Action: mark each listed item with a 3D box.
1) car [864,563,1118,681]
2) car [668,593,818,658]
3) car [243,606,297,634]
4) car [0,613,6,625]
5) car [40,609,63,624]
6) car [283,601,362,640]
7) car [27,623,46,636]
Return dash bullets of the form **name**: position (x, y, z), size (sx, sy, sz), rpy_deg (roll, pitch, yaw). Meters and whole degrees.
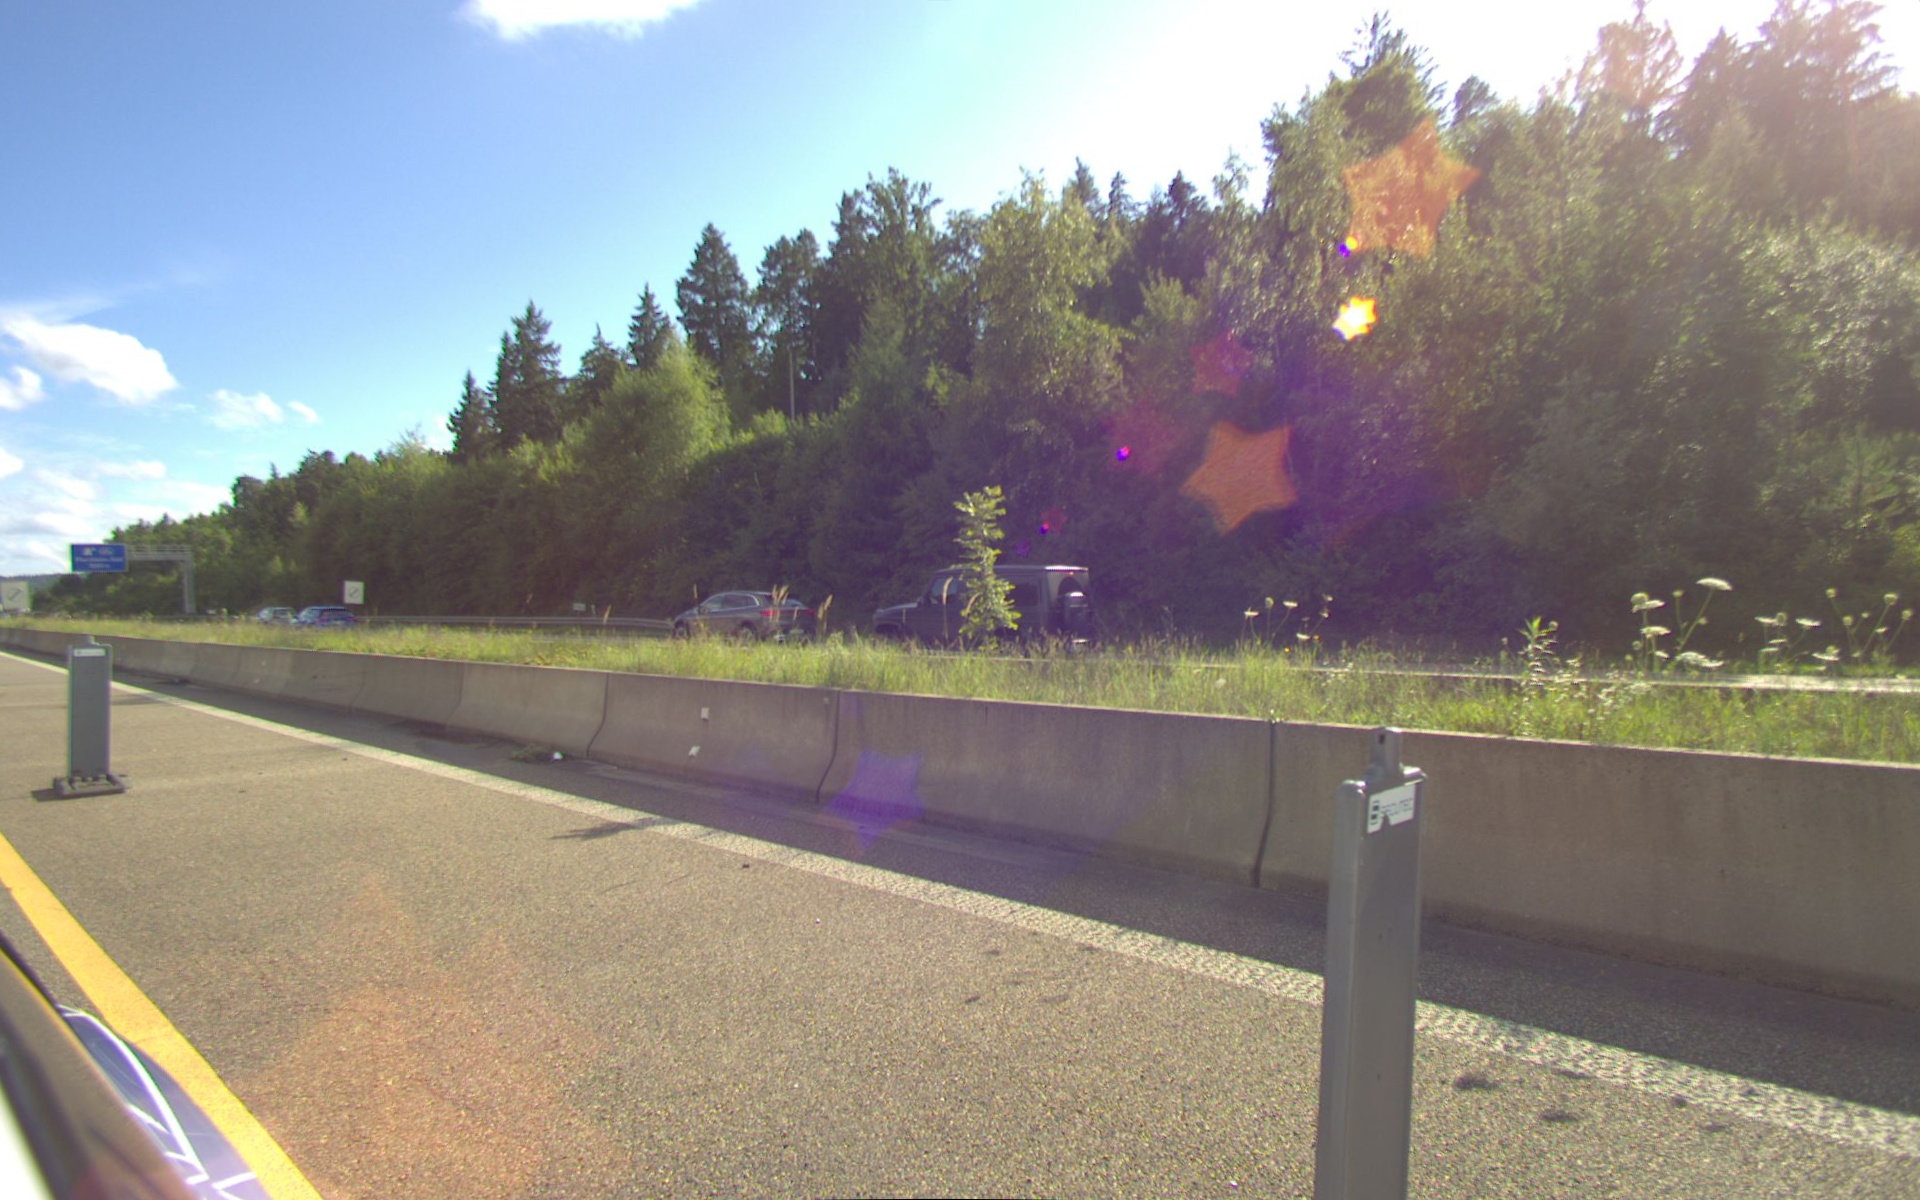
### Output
- **car**: position (0.461, 0.365, 18.617), size (4.615, 1.917, 1.759), rpy_deg (-1, 0, 41)
- **car**: position (-6.253, 0.676, 28.829), size (4.615, 1.701, 1.759), rpy_deg (-1, 0, 41)
- **car**: position (-41.878, 1.194, 61.417), size (4.016, 1.614, 1.759), rpy_deg (-1, 0, 41)
- **car**: position (-160.696, 3.213, 168.679), size (3.998, 2.029, 1.973), rpy_deg (-1, 0, 41)
- **car**: position (-129.638, 2.373, 144.418), size (3.998, 2.029, 1.973), rpy_deg (-1, 0, 41)
- **car**: position (-28.171, 0.865, 44.671), size (4.309, 1.614, 1.759), rpy_deg (-1, 0, 41)
- **car**: position (-156.306, 4.943, 171.282), size (3.998, 2.029, 1.973), rpy_deg (-1, 0, 41)
